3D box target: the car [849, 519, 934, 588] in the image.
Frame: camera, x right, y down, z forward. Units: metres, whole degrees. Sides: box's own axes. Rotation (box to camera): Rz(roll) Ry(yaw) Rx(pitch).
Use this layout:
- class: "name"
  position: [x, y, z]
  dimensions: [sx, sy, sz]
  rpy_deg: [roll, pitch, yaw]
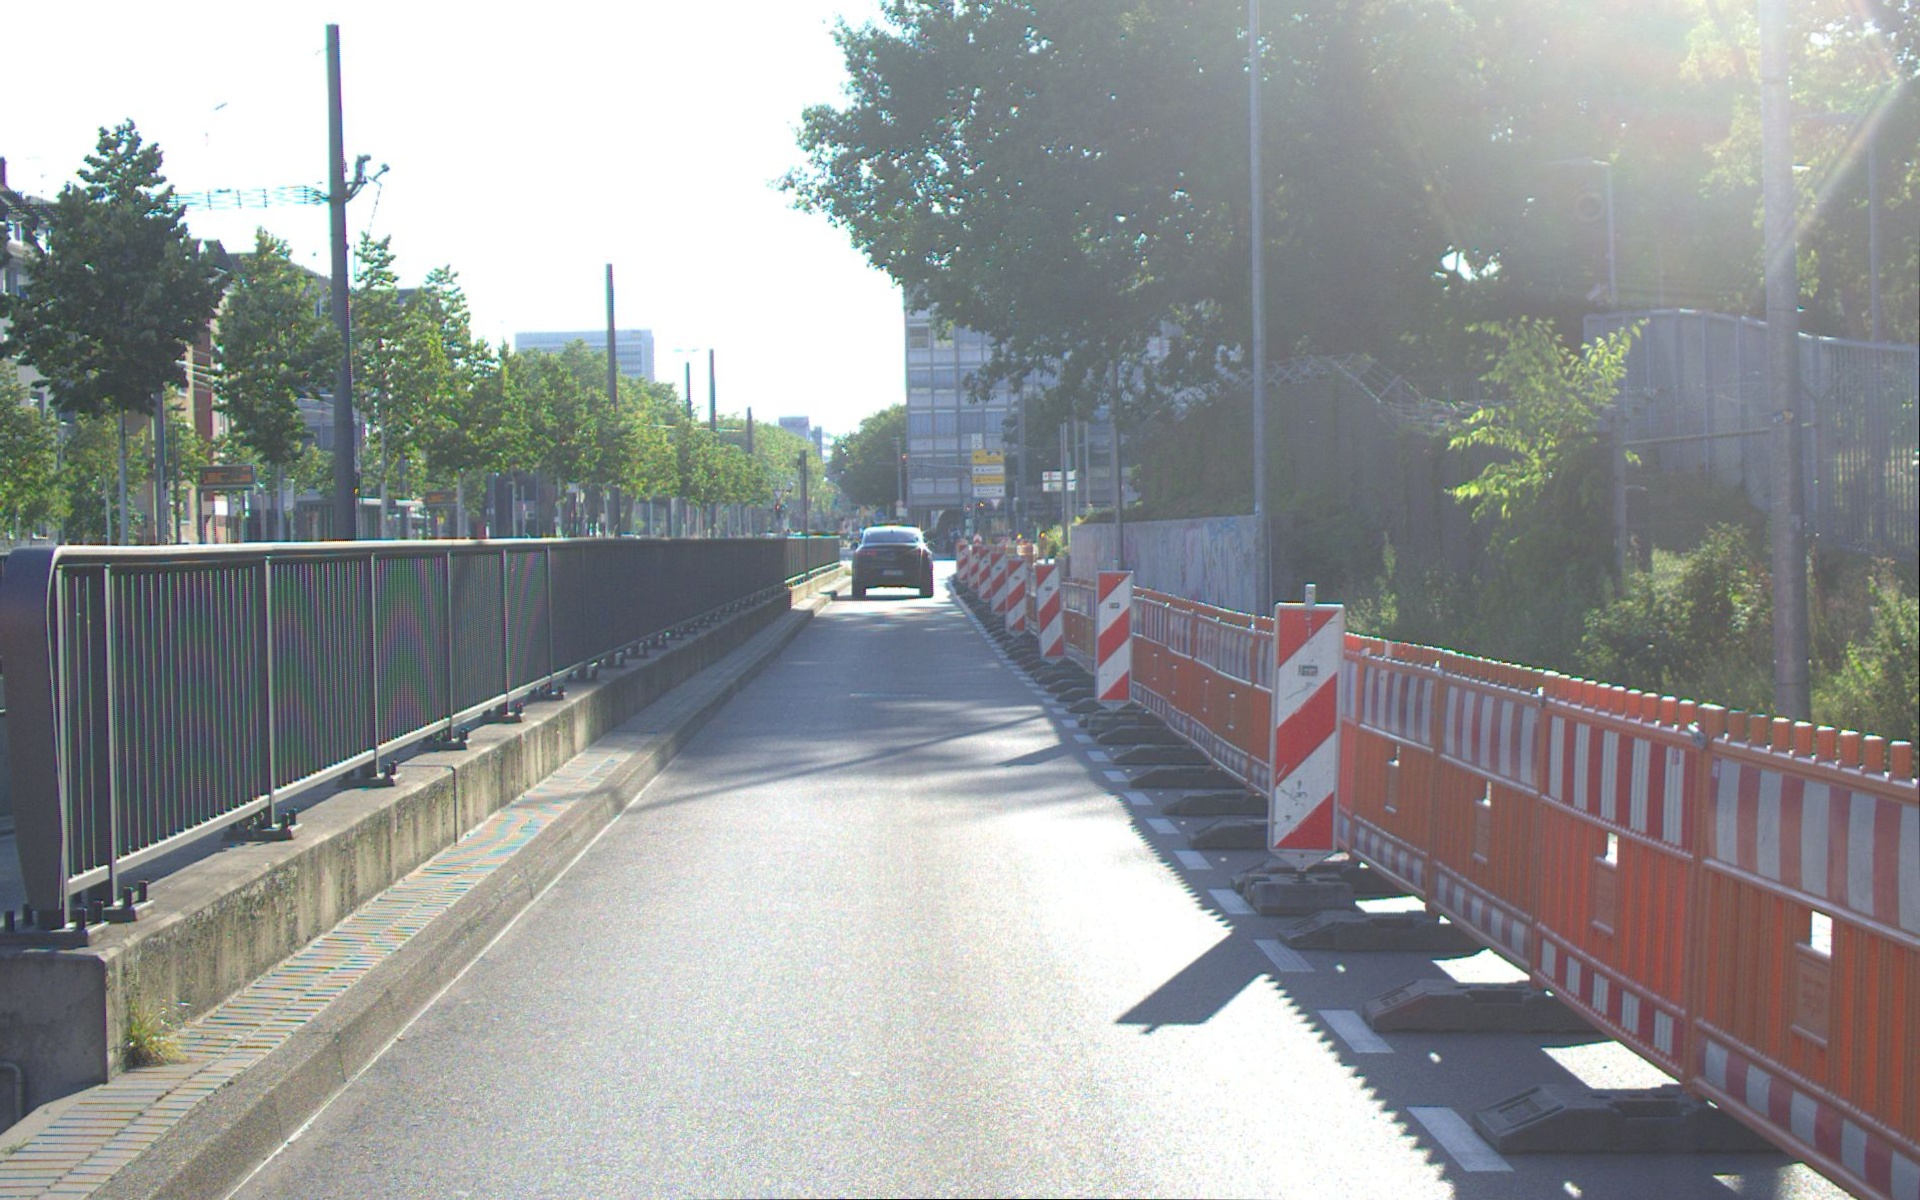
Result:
- class: "car"
  position: [-1.684, -1.155, 85.490]
  dimensions: [2.005, 1.653, 4.000]
  rpy_deg: [1, 1, 0]
